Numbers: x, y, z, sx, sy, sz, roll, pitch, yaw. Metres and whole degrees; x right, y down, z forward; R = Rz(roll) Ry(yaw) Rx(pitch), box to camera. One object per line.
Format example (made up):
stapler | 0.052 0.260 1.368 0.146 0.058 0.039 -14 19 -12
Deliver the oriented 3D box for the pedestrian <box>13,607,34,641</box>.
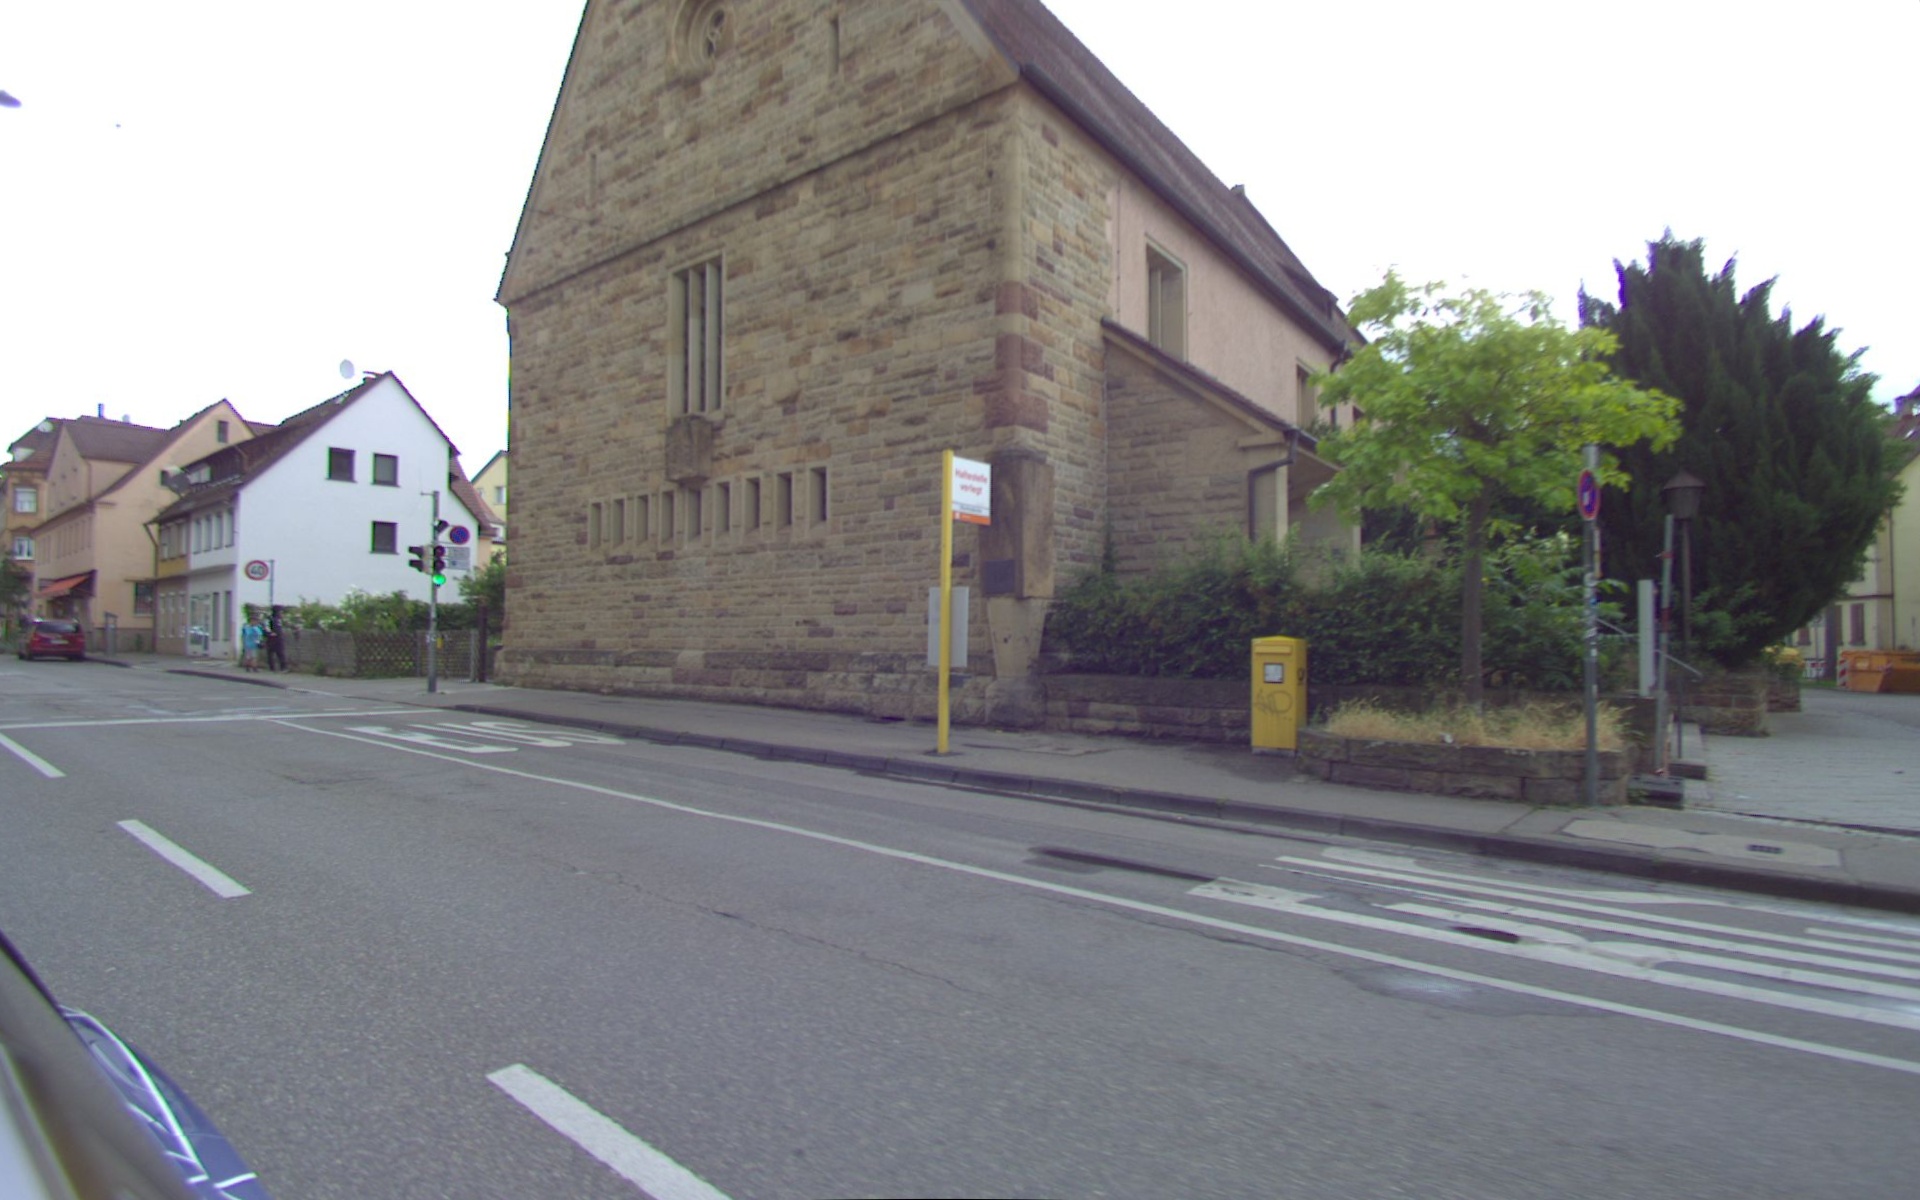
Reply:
pedestrian | -49.046 1.257 53.002 0.982 1.768 0.730 -2 -2 42

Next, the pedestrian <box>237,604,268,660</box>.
pedestrian | -20.152 0.900 28.828 0.697 1.566 0.565 -1 -1 42

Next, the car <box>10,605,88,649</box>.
car | -35.921 1.044 39.889 4.448 1.586 1.685 -1 -4 41

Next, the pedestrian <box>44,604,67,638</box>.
pedestrian | -44.455 1.001 49.763 0.757 1.641 0.723 0 0 38

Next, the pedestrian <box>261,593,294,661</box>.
pedestrian | -19.159 0.761 28.399 0.697 1.862 0.565 -1 0 42
